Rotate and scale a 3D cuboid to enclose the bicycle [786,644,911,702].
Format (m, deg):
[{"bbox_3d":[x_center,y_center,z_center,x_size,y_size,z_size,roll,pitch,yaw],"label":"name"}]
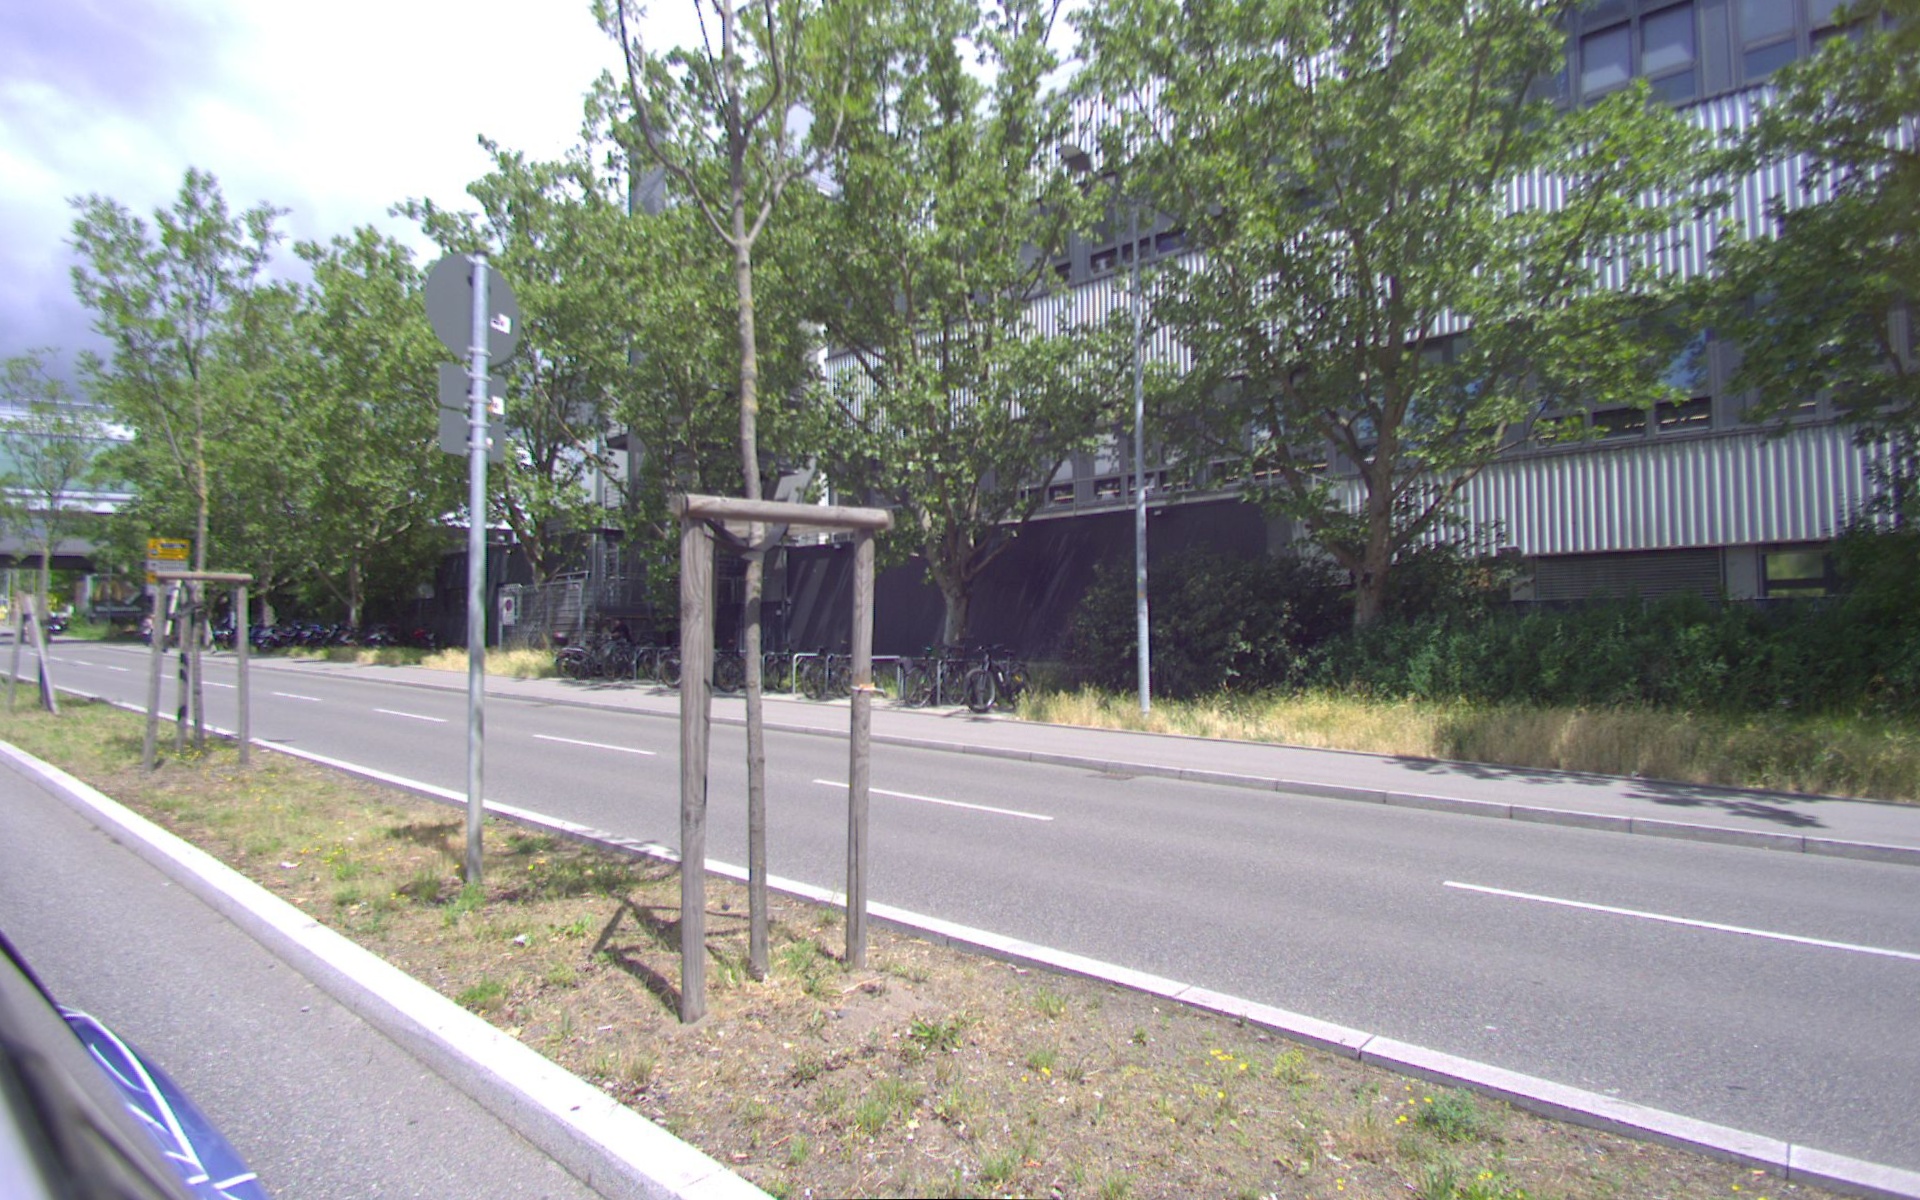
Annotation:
[{"bbox_3d":[-2.201,1.432,20.320,2.532,1.104,0.697,2,-3,-40],"label":"bicycle"}]

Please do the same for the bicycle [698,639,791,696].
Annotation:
[{"bbox_3d":[-4.645,1.428,21.909,0.805,1.131,1.899,-1,-1,38],"label":"bicycle"}]

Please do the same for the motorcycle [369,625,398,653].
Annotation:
[{"bbox_3d":[-26.304,1.797,46.160,1.983,1.219,0.645,-3,-1,45],"label":"motorcycle"}]

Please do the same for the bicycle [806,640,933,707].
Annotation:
[{"bbox_3d":[-1.729,1.392,19.704,2.533,1.166,0.645,0,-1,-40],"label":"bicycle"}]

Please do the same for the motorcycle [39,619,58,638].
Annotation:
[{"bbox_3d":[-63.049,1.961,70.009,2.255,1.207,0.633,0,1,39],"label":"motorcycle"}]

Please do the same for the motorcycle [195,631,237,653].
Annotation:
[{"bbox_3d":[-37.292,2.109,50.723,0.776,1.041,1.574,-3,-1,41],"label":"motorcycle"}]

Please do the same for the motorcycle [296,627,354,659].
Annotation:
[{"bbox_3d":[-25.661,1.730,40.905,1.855,1.195,0.730,-2,0,-42],"label":"motorcycle"}]

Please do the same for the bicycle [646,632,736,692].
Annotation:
[{"bbox_3d":[-6.144,1.393,23.191,0.805,1.292,1.899,-1,-1,38],"label":"bicycle"}]

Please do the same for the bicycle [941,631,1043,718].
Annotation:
[{"bbox_3d":[0.581,1.234,17.390,0.489,1.374,2.144,-2,-2,42],"label":"bicycle"}]

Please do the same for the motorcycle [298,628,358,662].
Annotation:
[{"bbox_3d":[-24.523,1.737,39.287,1.855,1.182,0.746,-2,-1,-41],"label":"motorcycle"}]

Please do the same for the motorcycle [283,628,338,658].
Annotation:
[{"bbox_3d":[-27.982,1.852,43.623,0.698,1.188,1.857,-3,-1,43],"label":"motorcycle"}]

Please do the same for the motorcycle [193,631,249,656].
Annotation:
[{"bbox_3d":[-35.838,2.114,49.092,0.917,1.124,1.919,1,-3,28],"label":"motorcycle"}]

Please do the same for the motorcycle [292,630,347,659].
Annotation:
[{"bbox_3d":[-26.490,1.823,41.854,1.853,1.093,0.796,-2,-1,-35],"label":"motorcycle"}]

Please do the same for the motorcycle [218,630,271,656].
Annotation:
[{"bbox_3d":[-34.188,2.054,48.383,1.904,1.124,0.924,-2,-1,-23],"label":"motorcycle"}]

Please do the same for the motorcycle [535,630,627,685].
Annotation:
[{"bbox_3d":[-9.789,1.460,26.211,0.805,1.319,2.113,-1,-1,38],"label":"motorcycle"}]

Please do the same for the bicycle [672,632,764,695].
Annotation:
[{"bbox_3d":[-5.376,1.387,22.576,0.805,1.292,1.899,-1,-1,38],"label":"bicycle"}]

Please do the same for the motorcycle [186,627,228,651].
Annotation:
[{"bbox_3d":[-39.192,2.030,52.671,0.773,1.131,1.579,-3,-1,31],"label":"motorcycle"}]

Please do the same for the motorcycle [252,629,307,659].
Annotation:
[{"bbox_3d":[-29.482,1.905,43.852,1.855,1.188,0.816,-2,-1,-41],"label":"motorcycle"}]

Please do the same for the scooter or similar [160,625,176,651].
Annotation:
[{"bbox_3d":[-39.123,1.855,49.987,1.478,1.245,0.350,0,0,40],"label":"scooter or similar"}]

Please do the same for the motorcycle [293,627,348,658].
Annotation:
[{"bbox_3d":[-27.063,1.795,42.847,0.655,1.219,1.857,-3,-1,43],"label":"motorcycle"}]

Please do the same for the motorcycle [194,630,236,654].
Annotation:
[{"bbox_3d":[-38.158,2.138,51.826,0.776,1.131,1.574,-3,-1,41],"label":"motorcycle"}]

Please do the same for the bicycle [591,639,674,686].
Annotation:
[{"bbox_3d":[-8.190,1.546,25.396,0.497,1.070,2.060,-1,-1,38],"label":"bicycle"}]

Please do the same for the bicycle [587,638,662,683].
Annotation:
[{"bbox_3d":[-8.513,1.520,25.742,0.422,1.083,1.905,-1,-1,38],"label":"bicycle"}]

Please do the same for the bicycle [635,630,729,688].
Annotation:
[{"bbox_3d":[-6.672,1.397,24.375,0.805,1.292,2.113,-1,-1,38],"label":"bicycle"}]

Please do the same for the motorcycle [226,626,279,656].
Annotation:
[{"bbox_3d":[-33.081,1.911,47.342,1.905,1.300,0.895,-2,-1,-29],"label":"motorcycle"}]

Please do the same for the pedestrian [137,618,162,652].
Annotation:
[{"bbox_3d":[-39.283,1.699,49.070,0.812,1.624,0.760,-1,1,39],"label":"pedestrian"}]

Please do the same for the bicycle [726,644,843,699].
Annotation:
[{"bbox_3d":[-3.702,1.486,21.648,0.848,1.014,2.814,-1,-1,31],"label":"bicycle"}]

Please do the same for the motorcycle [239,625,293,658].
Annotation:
[{"bbox_3d":[-31.363,1.872,45.776,1.905,1.354,0.867,-2,-1,-29],"label":"motorcycle"}]

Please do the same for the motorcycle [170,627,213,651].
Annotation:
[{"bbox_3d":[-40.838,2.059,53.790,1.721,1.180,0.777,-2,-1,-42],"label":"motorcycle"}]

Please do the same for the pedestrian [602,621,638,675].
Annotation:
[{"bbox_3d":[-10.125,1.417,30.128,0.744,1.563,0.822,0,-1,-40],"label":"pedestrian"}]

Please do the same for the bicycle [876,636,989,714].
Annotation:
[{"bbox_3d":[-0.459,1.296,18.150,0.555,1.267,2.379,-2,-2,42],"label":"bicycle"}]

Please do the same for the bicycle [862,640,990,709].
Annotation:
[{"bbox_3d":[-0.620,1.386,19.294,2.533,1.166,0.727,0,-1,-40],"label":"bicycle"}]

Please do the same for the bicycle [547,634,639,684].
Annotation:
[{"bbox_3d":[-9.357,1.474,25.891,0.805,1.189,2.113,-1,-1,38],"label":"bicycle"}]

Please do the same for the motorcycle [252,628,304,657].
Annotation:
[{"bbox_3d":[-30.166,1.884,44.769,1.853,1.188,0.817,-2,-1,-35],"label":"motorcycle"}]
